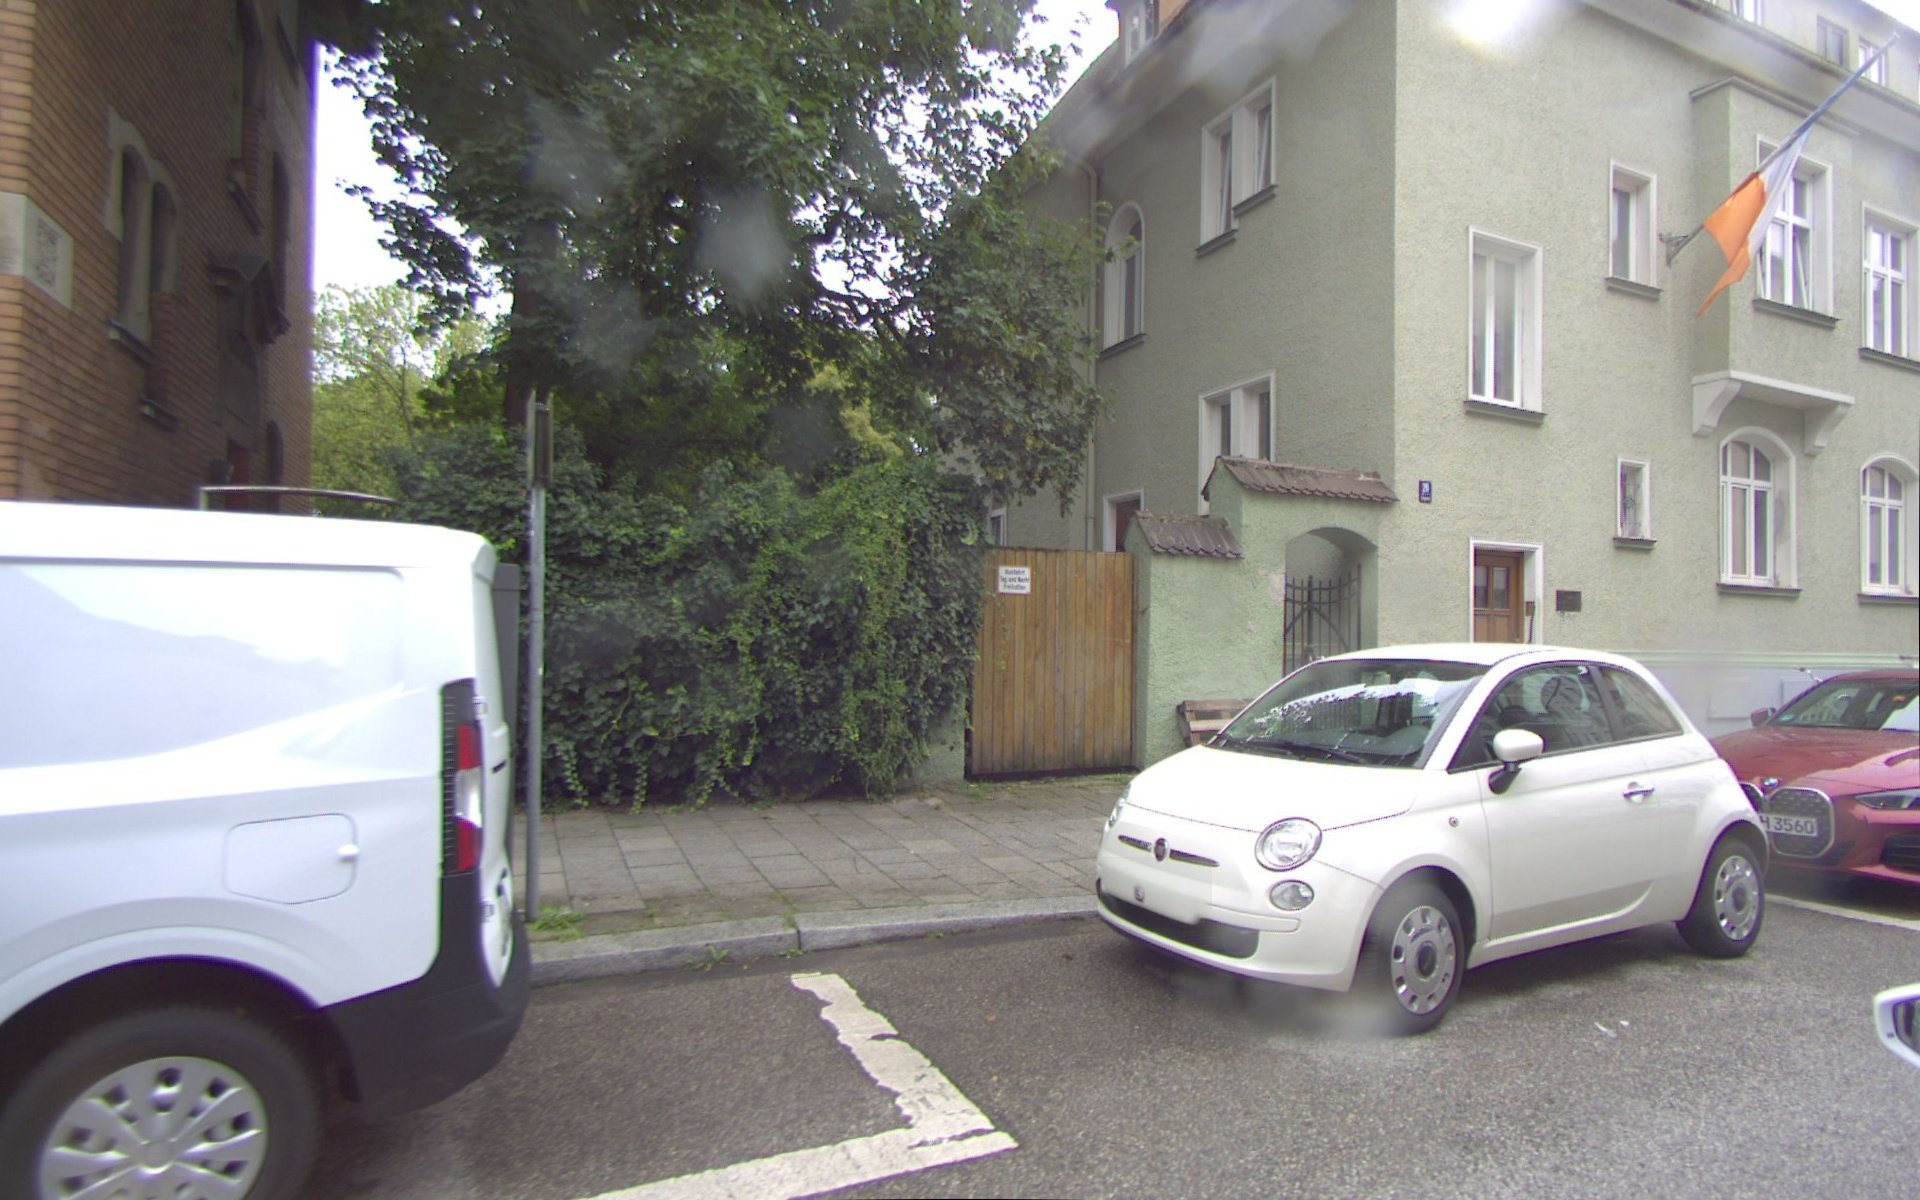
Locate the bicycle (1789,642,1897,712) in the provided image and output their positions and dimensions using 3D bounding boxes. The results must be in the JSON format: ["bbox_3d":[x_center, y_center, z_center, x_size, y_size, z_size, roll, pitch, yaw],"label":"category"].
[{"bbox_3d":[12.625,1.077,14.346,1.906,0.919,0.520,2,2,-29],"label":"bicycle"}]

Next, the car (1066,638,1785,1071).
[{"bbox_3d":[2.285,0.954,4.886,3.271,1.485,1.468,2,-3,-27],"label":"car"}]

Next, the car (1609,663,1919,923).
[{"bbox_3d":[6.879,1.191,7.190,4.278,1.431,1.854,3,-4,-27],"label":"car"}]

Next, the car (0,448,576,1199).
[{"bbox_3d":[-3.194,0.611,2.420,4.091,1.827,1.684,2,-3,-27],"label":"car"}]
